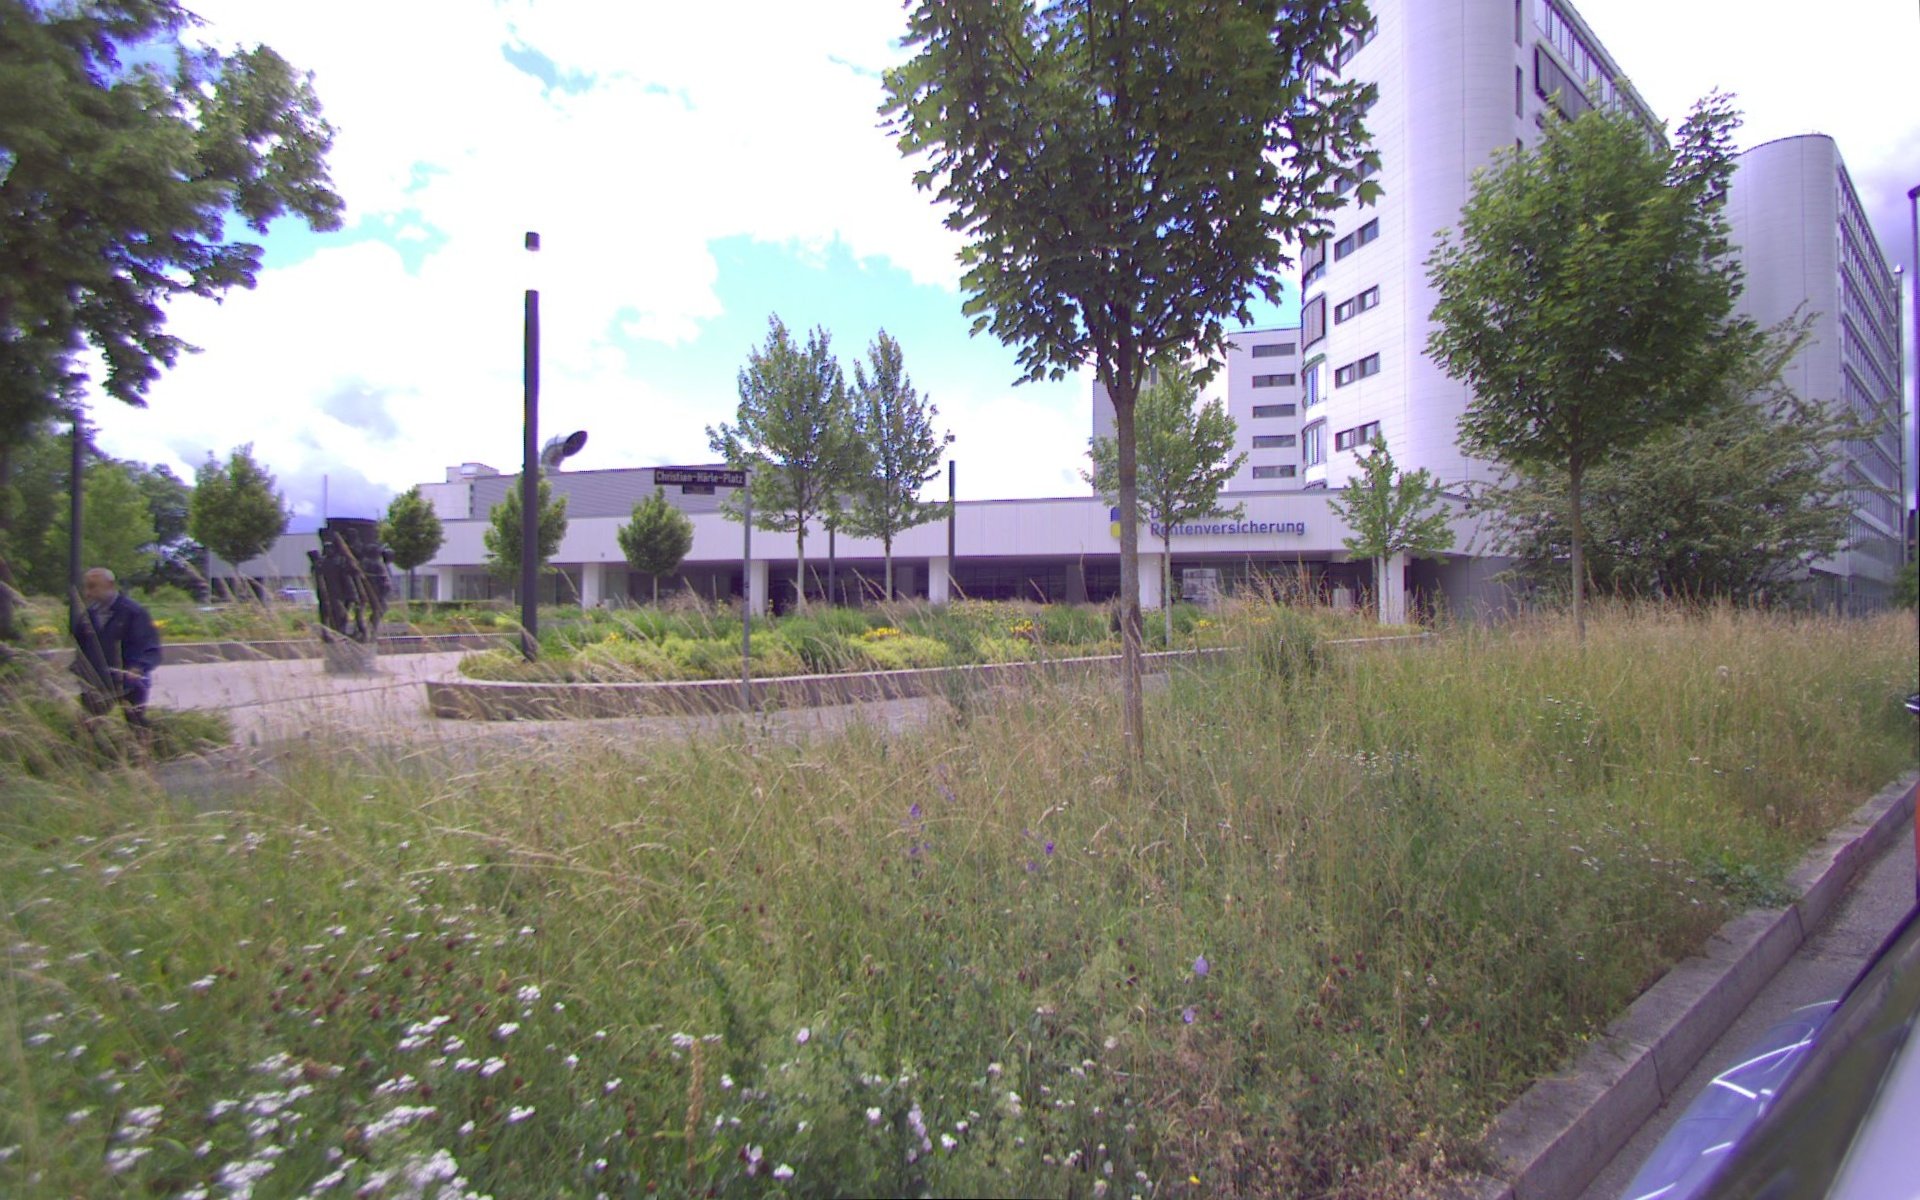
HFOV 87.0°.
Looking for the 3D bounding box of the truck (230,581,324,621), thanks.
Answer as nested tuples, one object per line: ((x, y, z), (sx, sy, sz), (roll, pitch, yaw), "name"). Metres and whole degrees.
((-36.142, 0.057, 53.578), (3.941, 2.039, 1.991), (1, 0, 14), "truck")

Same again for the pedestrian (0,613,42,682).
((-17.420, 0.857, 18.682), (0.621, 1.238, 0.620), (1, 0, -36), "pedestrian")

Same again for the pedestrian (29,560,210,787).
((-6.456, 0.529, 7.808), (0.760, 1.646, 0.762), (0, 0, 13), "pedestrian")

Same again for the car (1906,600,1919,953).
((5.810, 0.748, 4.642), (3.611, 1.434, 1.748), (0, 1, -41), "car")
